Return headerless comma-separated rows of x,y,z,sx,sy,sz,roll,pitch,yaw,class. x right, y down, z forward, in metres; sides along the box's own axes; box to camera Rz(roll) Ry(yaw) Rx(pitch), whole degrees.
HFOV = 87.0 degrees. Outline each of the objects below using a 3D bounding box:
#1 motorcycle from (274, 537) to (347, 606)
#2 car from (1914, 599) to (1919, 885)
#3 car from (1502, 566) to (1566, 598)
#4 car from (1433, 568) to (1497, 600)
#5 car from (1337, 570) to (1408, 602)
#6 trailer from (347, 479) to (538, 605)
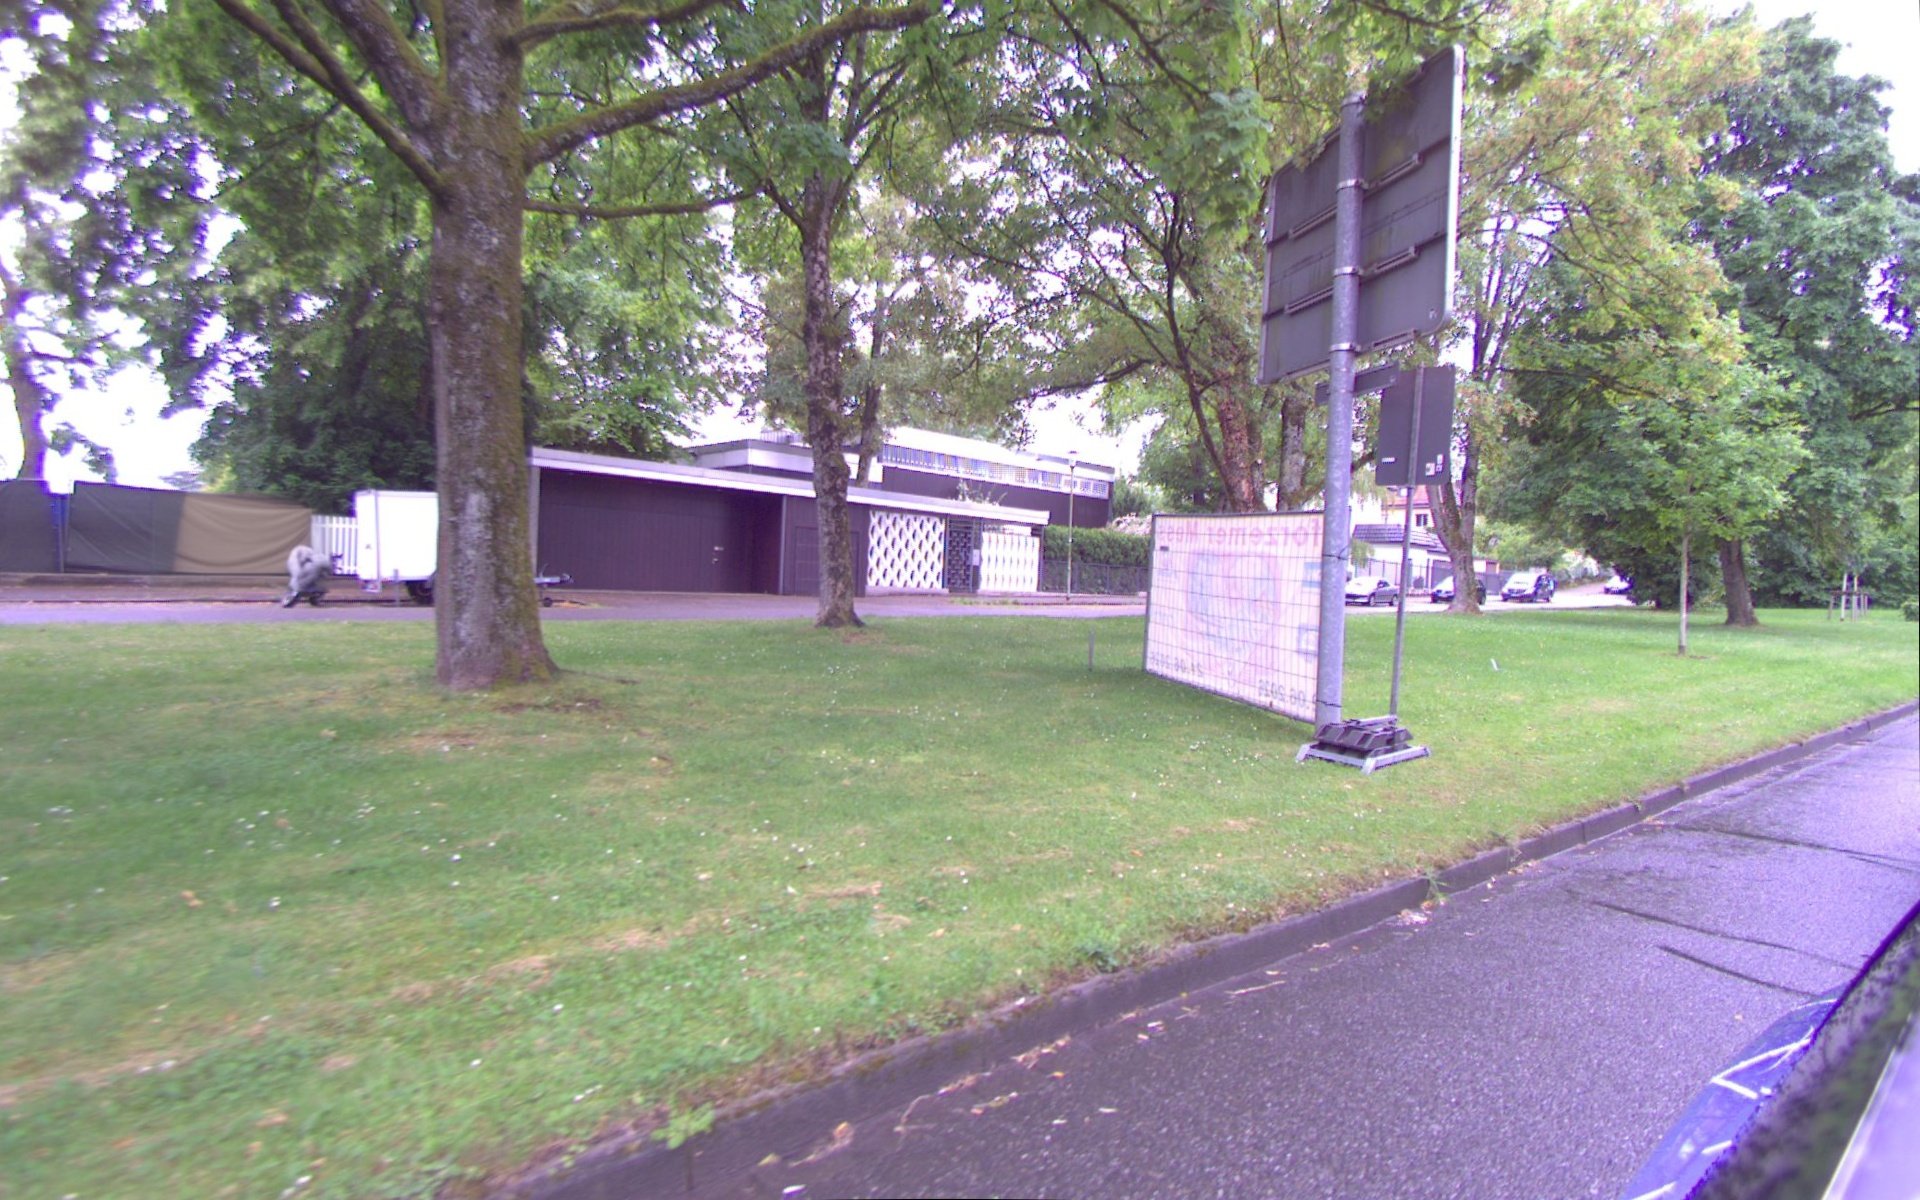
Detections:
-11.193,-0.498,17.492,0.645,1.106,1.896,2,1,-20,motorcycle
6.397,0.730,5.044,4.428,1.486,1.795,0,-1,-39,car
36.811,-1.166,64.868,4.986,1.901,2.162,-2,4,-44,car
28.036,-0.944,56.144,3.968,1.644,1.904,-2,4,-44,car
19.539,-0.691,47.903,3.648,1.392,1.684,-1,5,-43,car
-9.717,-1.049,19.101,1.437,2.180,2.903,4,3,44,trailer
